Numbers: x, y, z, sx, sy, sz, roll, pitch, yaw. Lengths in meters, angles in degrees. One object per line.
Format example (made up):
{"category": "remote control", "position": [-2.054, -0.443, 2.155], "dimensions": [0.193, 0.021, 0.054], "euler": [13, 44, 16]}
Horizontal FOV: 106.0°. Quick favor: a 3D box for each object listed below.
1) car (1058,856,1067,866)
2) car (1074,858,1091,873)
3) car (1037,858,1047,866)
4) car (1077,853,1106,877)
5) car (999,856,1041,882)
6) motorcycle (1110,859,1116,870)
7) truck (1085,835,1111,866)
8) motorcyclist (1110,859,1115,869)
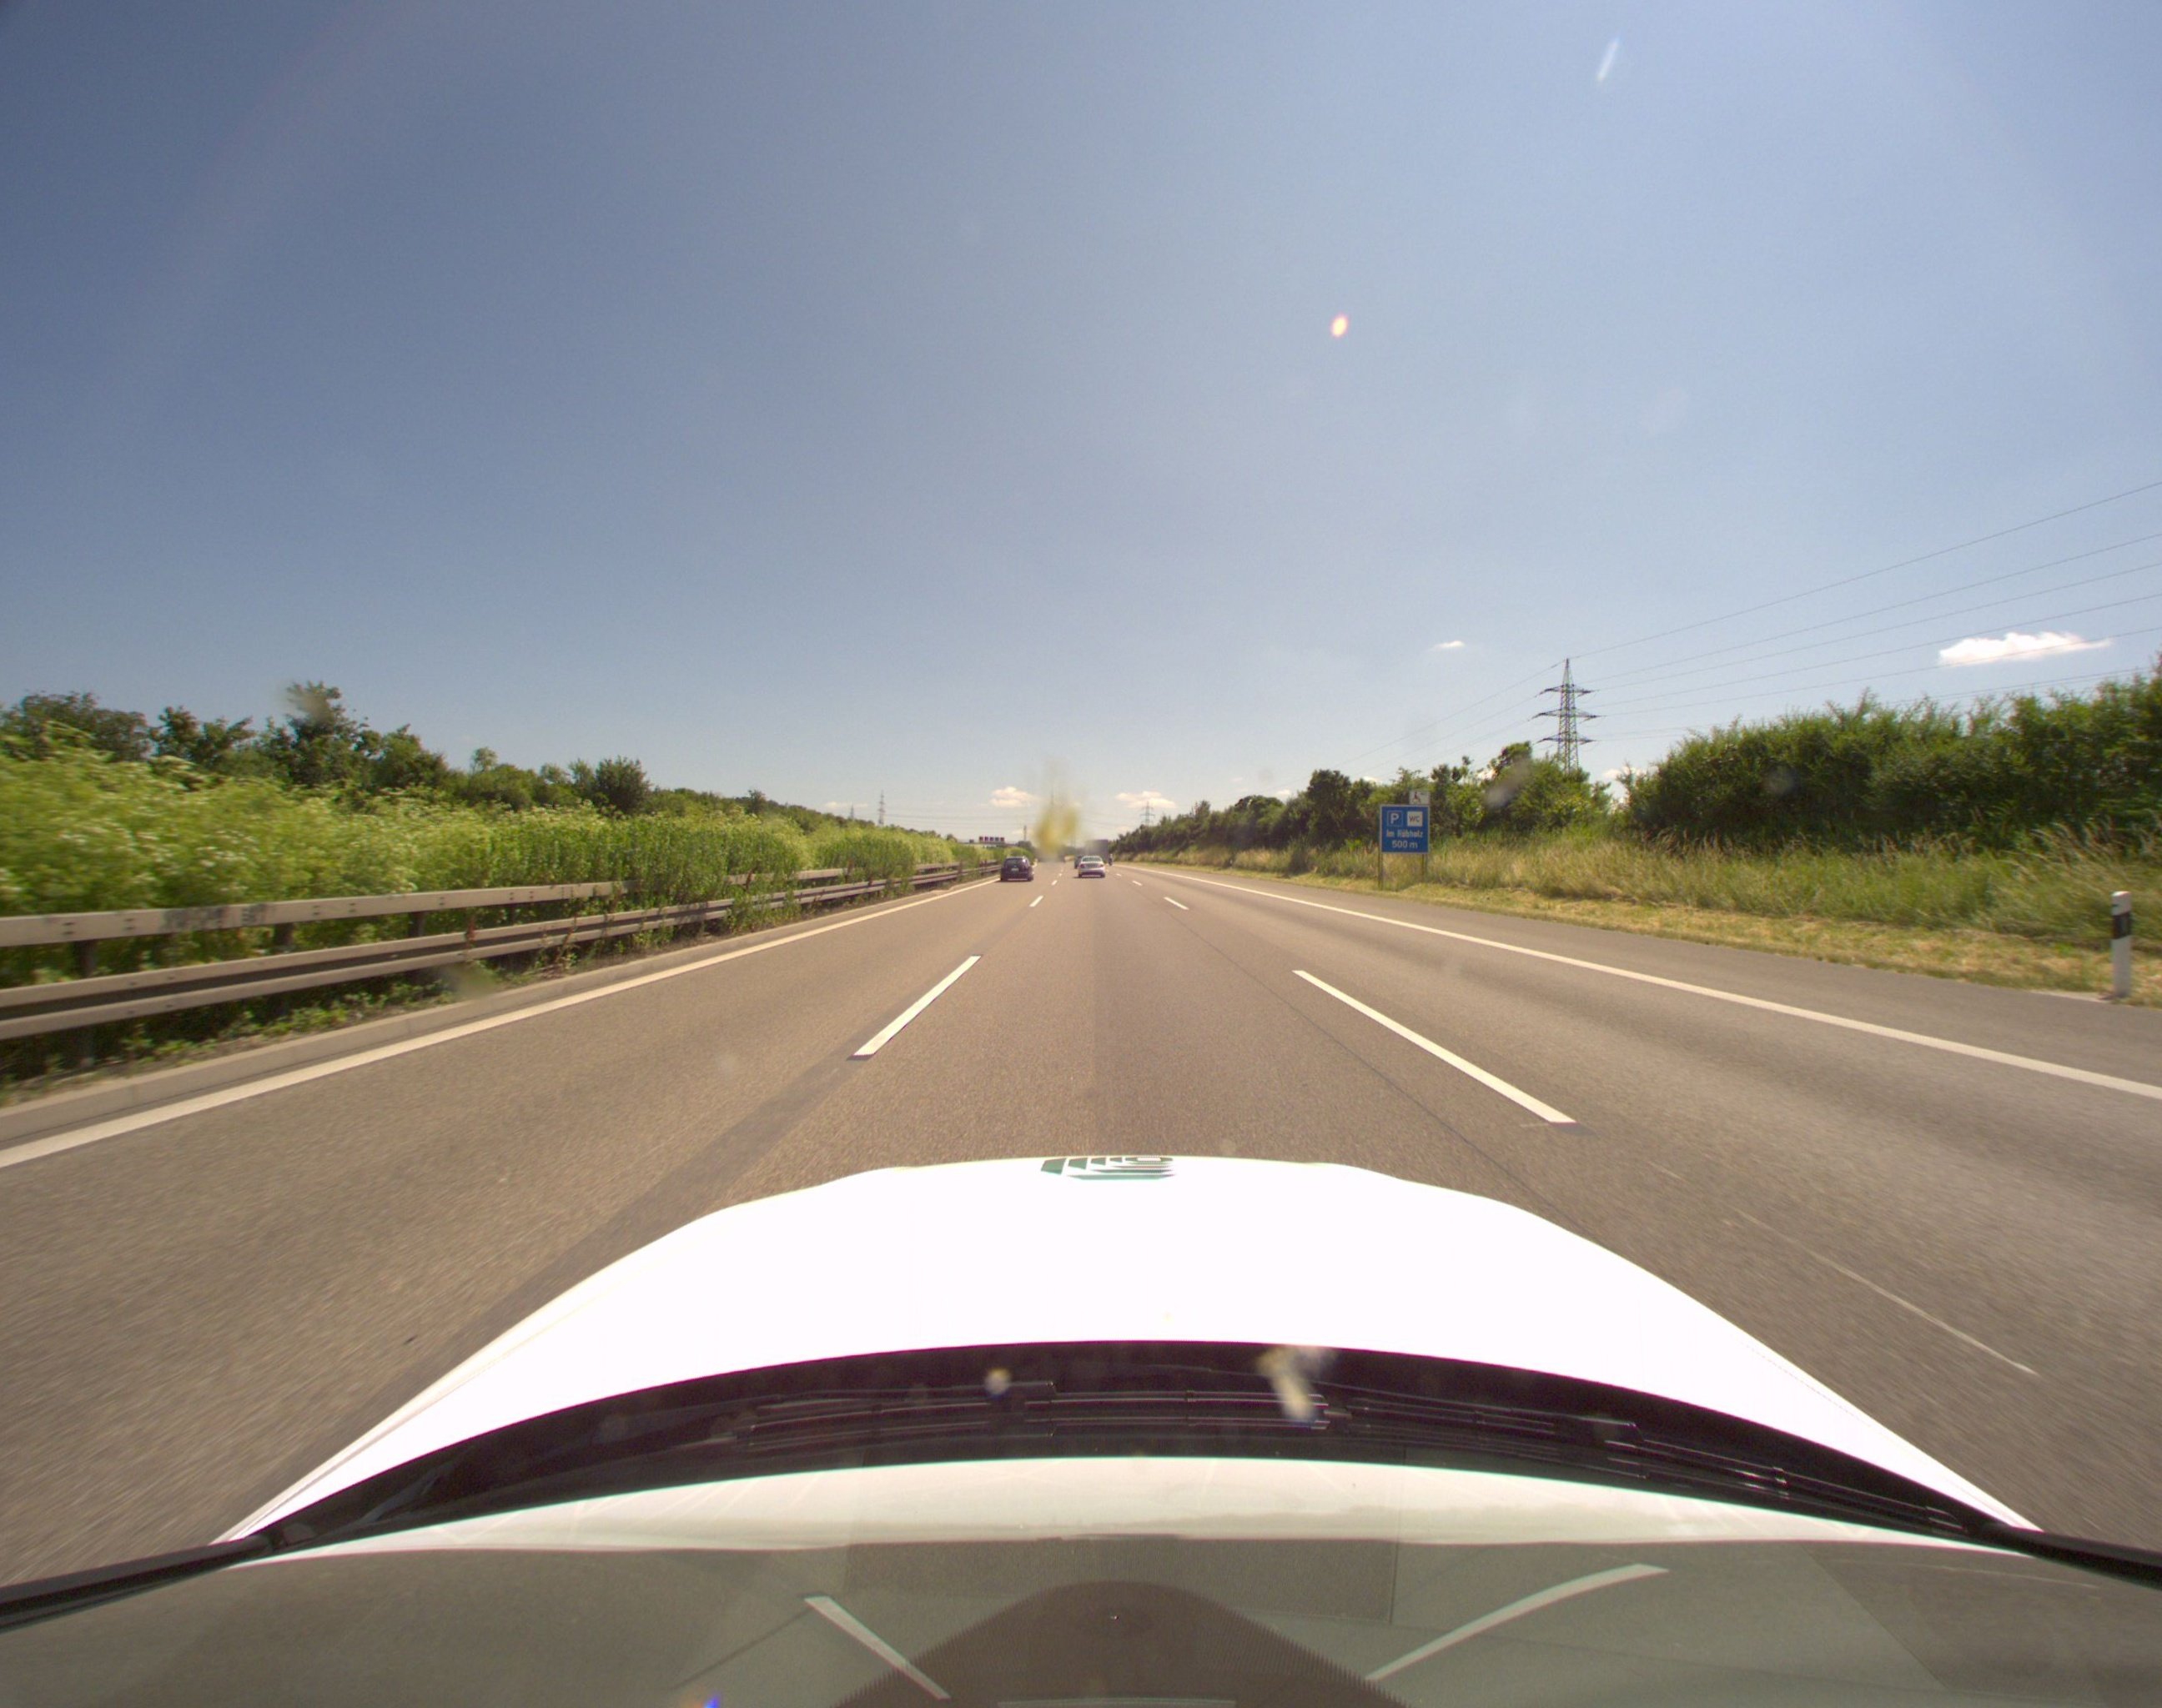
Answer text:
{"category": "car", "position": [-3.923, 1.470, 172.228], "dimensions": [1.896, 1.926, 3.998], "euler": [-1, 0, -1]}
{"category": "car", "position": [0.234, 1.282, 90.729], "dimensions": [1.832, 1.541, 3.914], "euler": [-1, 0, 0]}
{"category": "car", "position": [-8.819, 1.763, 186.535], "dimensions": [1.986, 1.860, 4.001], "euler": [-1, 0, 1]}
{"category": "car", "position": [0.666, 0.731, 54.659], "dimensions": [1.814, 1.541, 3.913], "euler": [-1, 0, -1]}
{"category": "car", "position": [-3.545, 0.848, 47.815], "dimensions": [1.748, 1.429, 4.006], "euler": [-1, 0, 5]}
{"category": "motorcycle", "position": [4.668, 1.555, 119.114], "dimensions": [0.807, 1.607, 1.781], "euler": [0, -1, -1]}
{"category": "truck", "position": [2.171, -0.347, 108.639], "dimensions": [3.211, 3.924, 9.058], "euler": [0, -1, 0]}
{"category": "motorcyclist", "position": [4.618, 1.430, 119.079], "dimensions": [0.570, 1.479, 0.700], "euler": [-1, 0, -1]}
